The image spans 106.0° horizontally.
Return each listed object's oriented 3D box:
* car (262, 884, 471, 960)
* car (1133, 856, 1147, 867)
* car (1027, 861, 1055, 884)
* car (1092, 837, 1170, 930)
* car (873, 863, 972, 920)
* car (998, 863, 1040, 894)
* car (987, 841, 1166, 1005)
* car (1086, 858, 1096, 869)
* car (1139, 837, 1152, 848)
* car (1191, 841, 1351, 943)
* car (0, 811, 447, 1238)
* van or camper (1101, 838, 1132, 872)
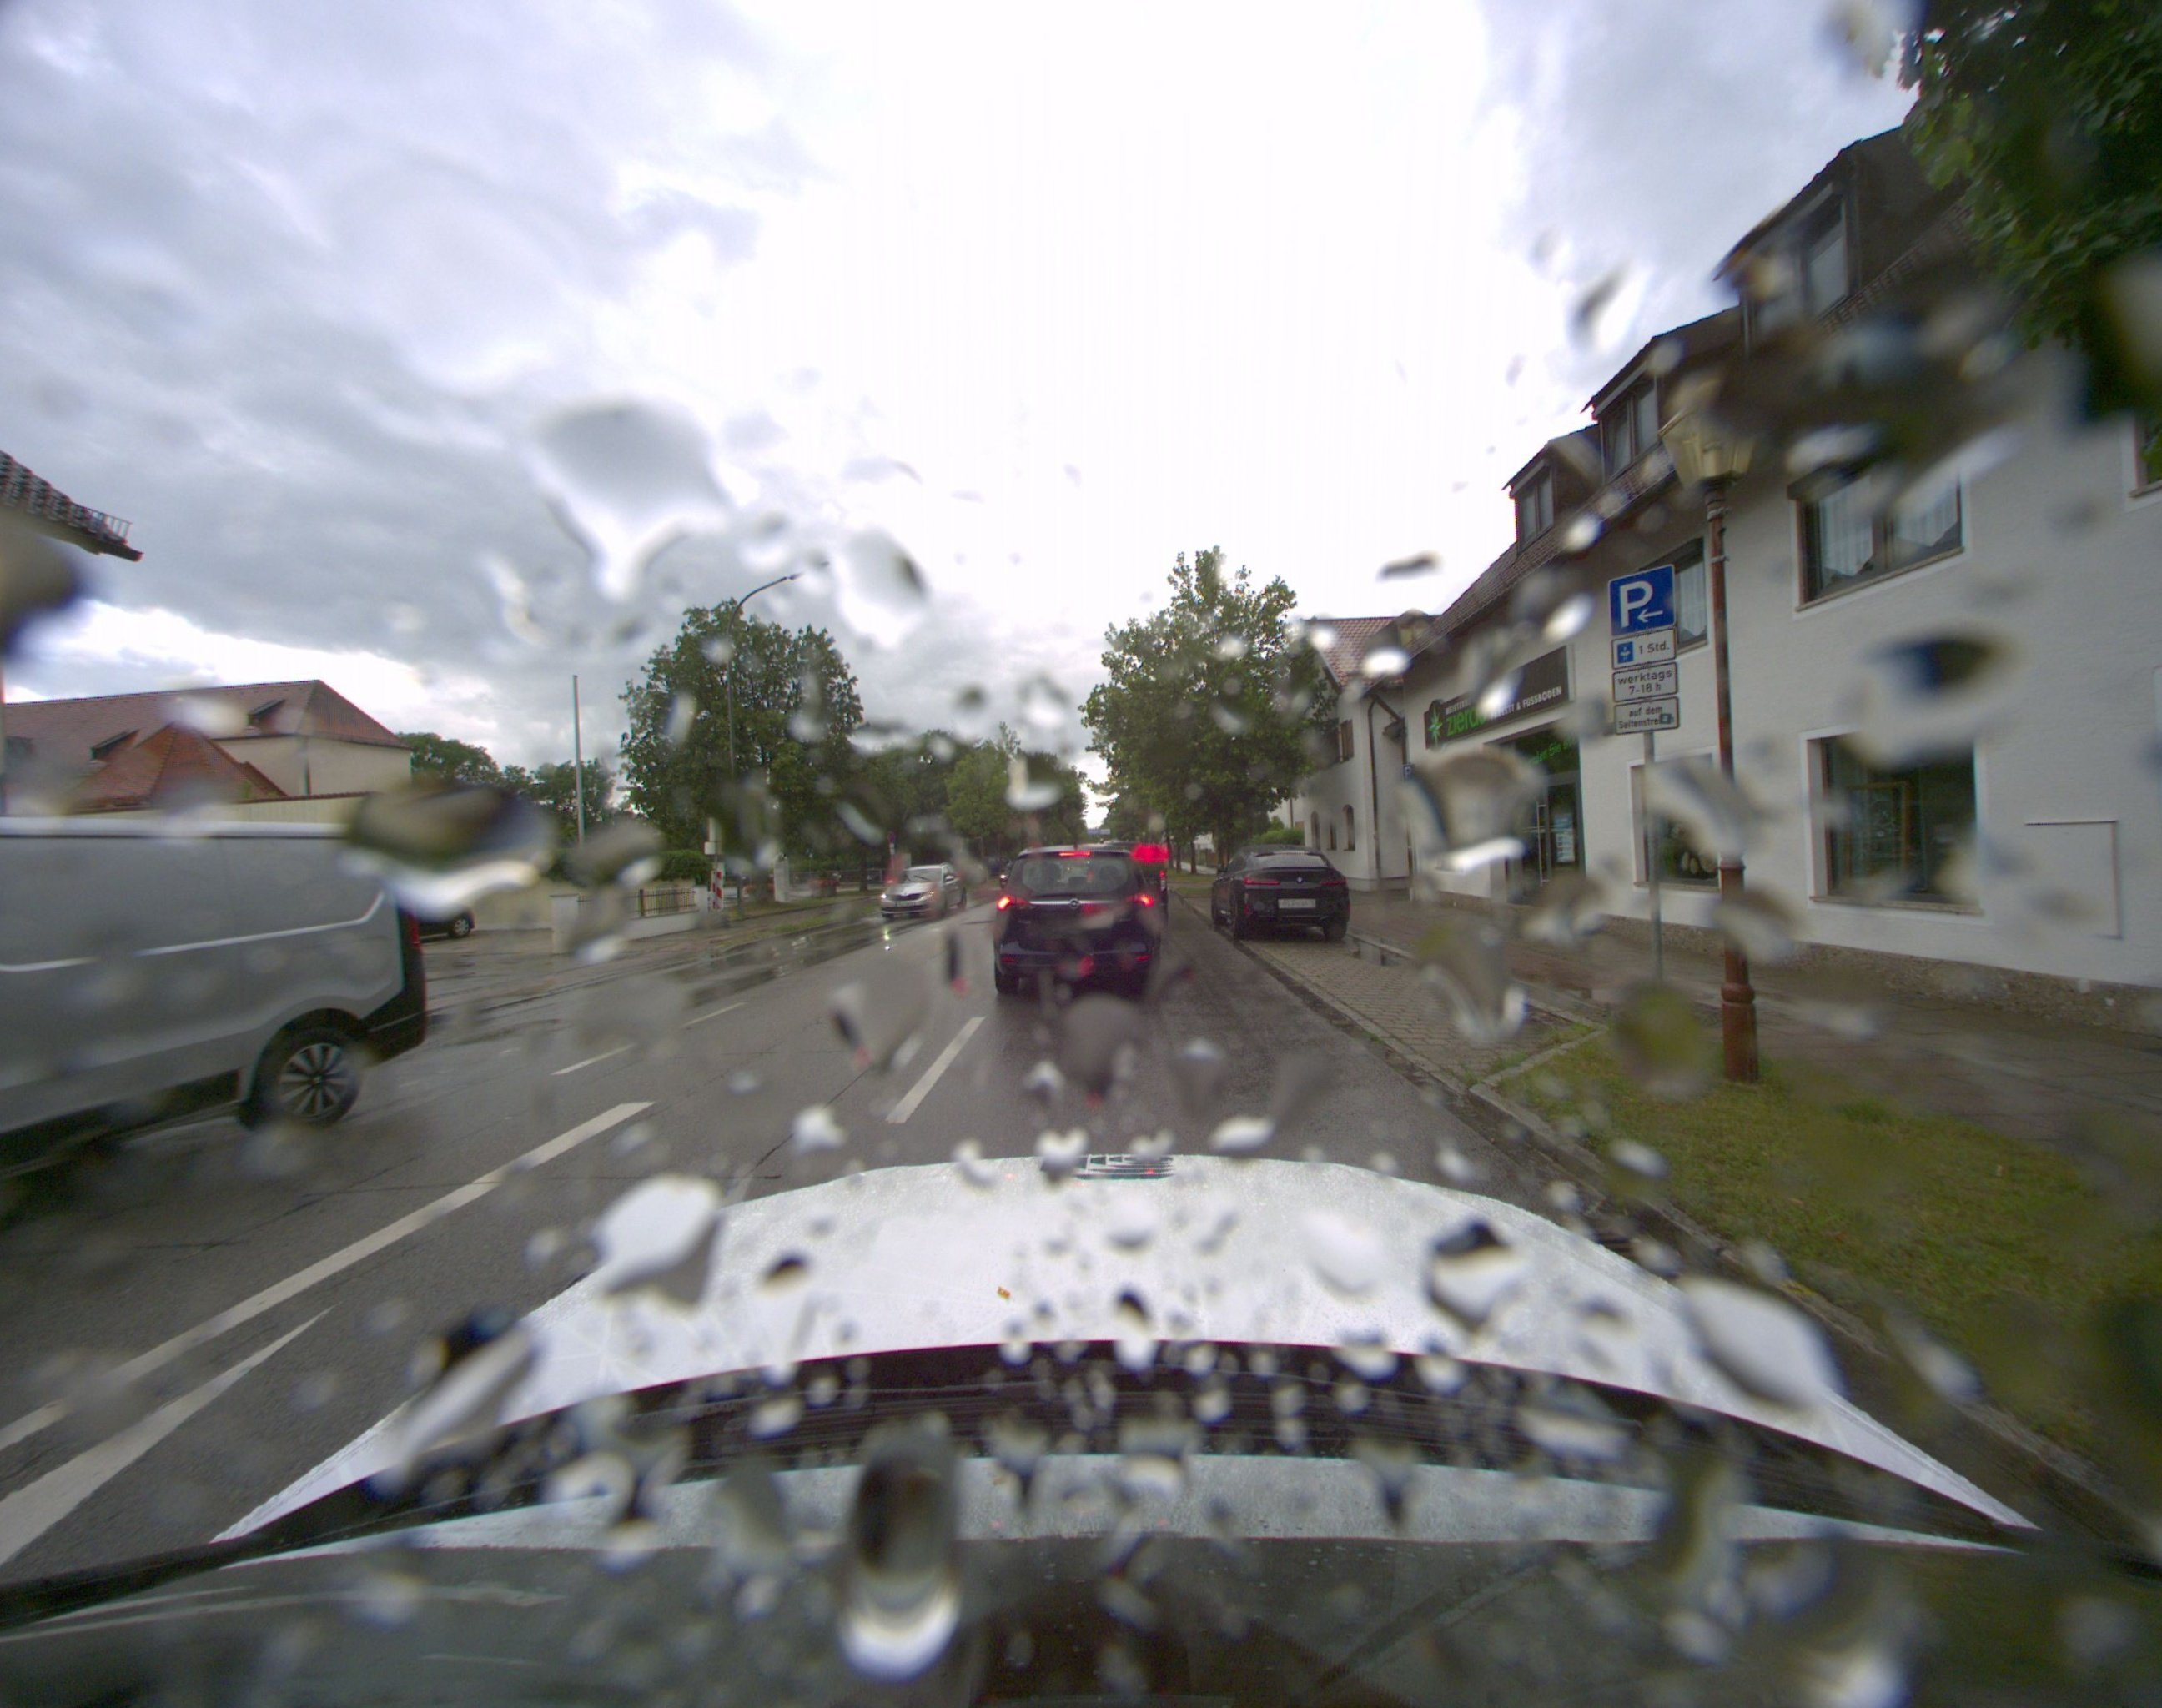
[{"bbox_3d":[-16.462,1.514,19.016,1.601,1.380,3.510,-4,0,2],"label":"car"},{"bbox_3d":[7.498,0.991,103.453,1.623,1.378,3.624,-2,-1,2],"label":"car"},{"bbox_3d":[-2.747,1.263,56.248,1.467,1.375,3.211,-4,0,4],"label":"car"},{"bbox_3d":[1.051,0.586,17.502,1.494,1.776,3.114,-1,0,2],"label":"car"},{"bbox_3d":[-4.578,1.048,24.153,1.770,1.375,4.188,-4,0,4],"label":"car"},{"bbox_3d":[-3.238,1.269,43.475,1.573,1.375,4.188,-4,0,4],"label":"car"},{"bbox_3d":[0.033,0.696,9.957,1.762,1.604,3.665,-1,0,2],"label":"car"},{"bbox_3d":[1.618,1.590,134.724,1.471,1.623,3.692,-2,-1,2],"label":"car"},{"bbox_3d":[8.947,-1.532,113.131,1.624,1.378,3.625,-4,-1,2],"label":"car"},{"bbox_3d":[3.305,0.626,15.011,2.109,1.581,3.937,-1,-1,2],"label":"car"},{"bbox_3d":[-5.752,0.821,3.341,1.808,1.891,5.264,-5,0,4],"label":"car"},{"bbox_3d":[3.033,0.105,69.417,2.351,2.665,5.375,-3,0,2],"label":"van or camper"}]
